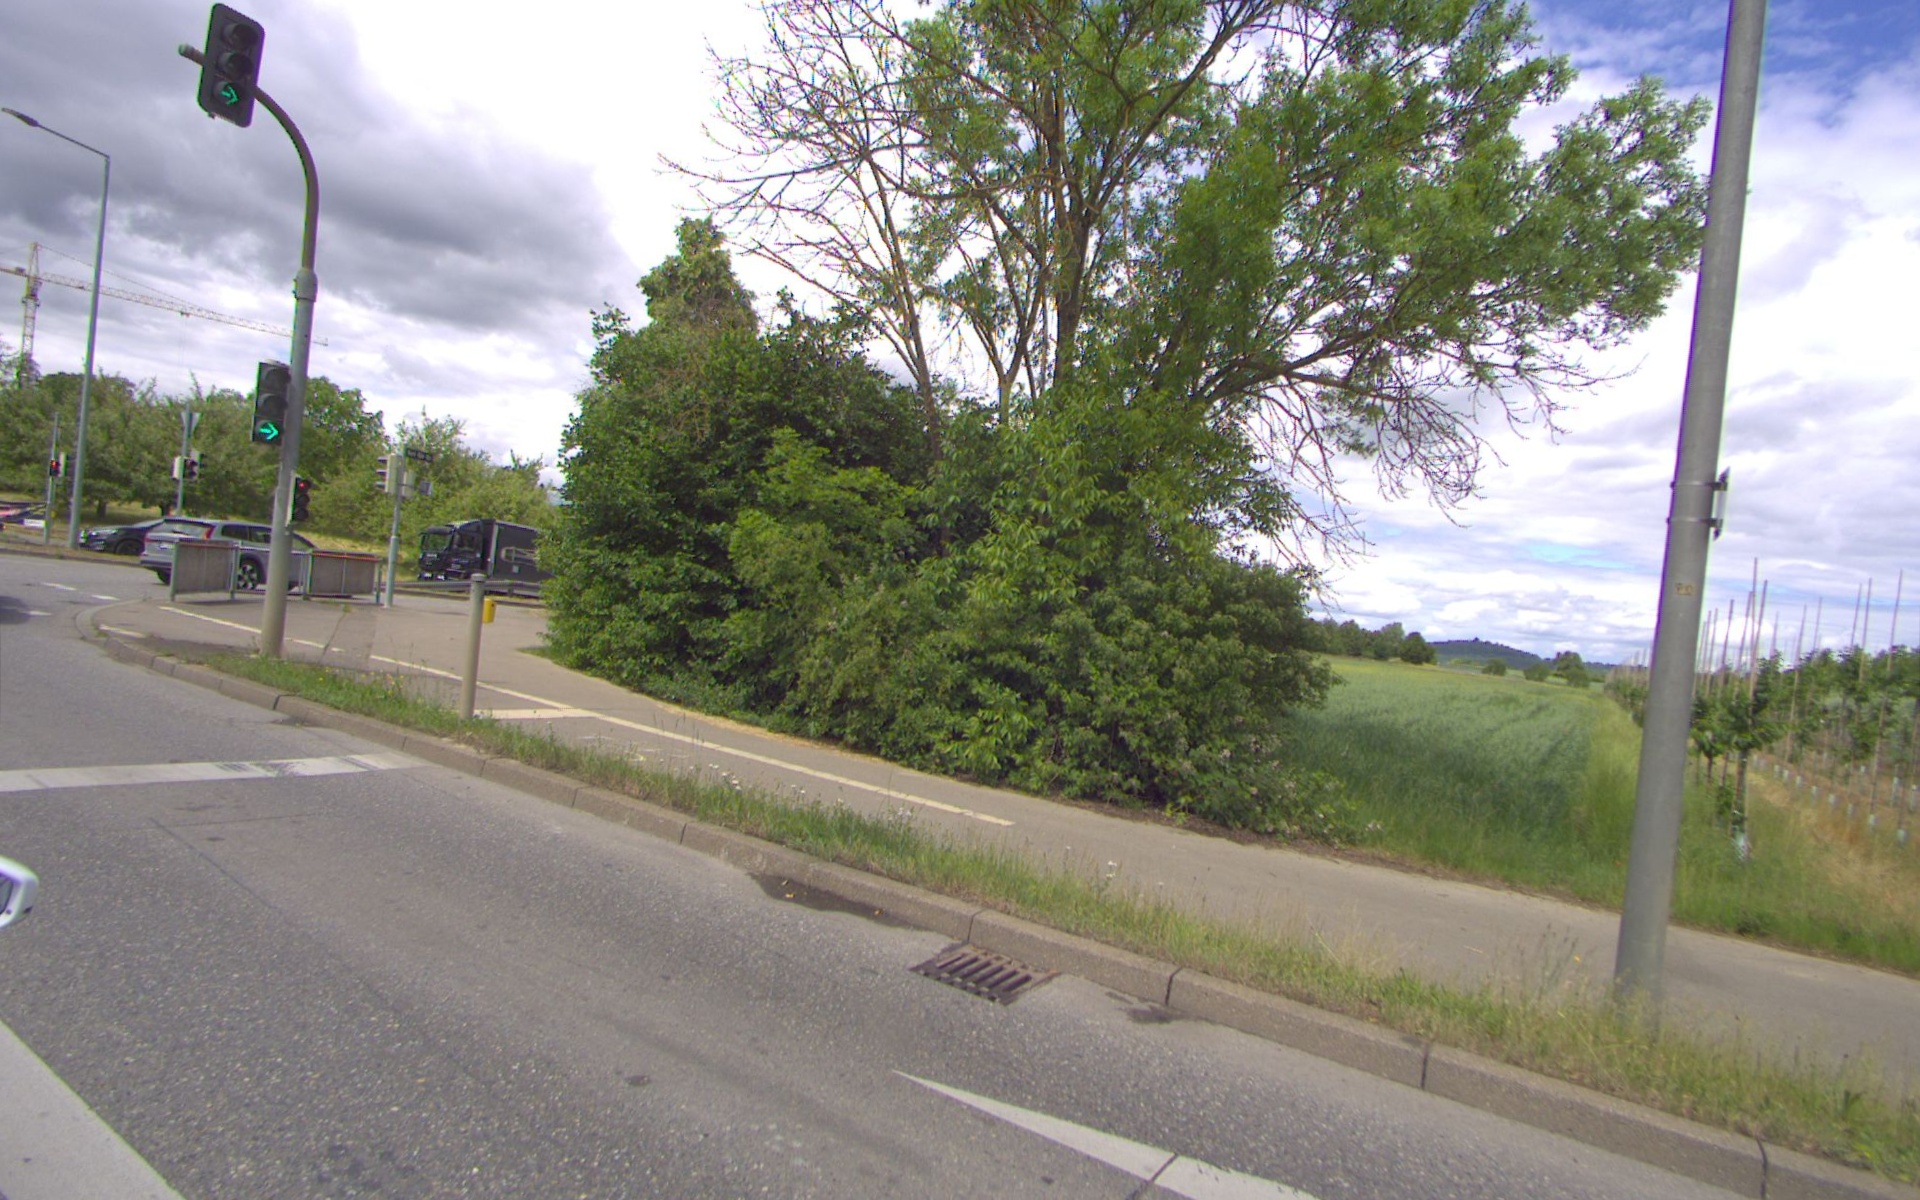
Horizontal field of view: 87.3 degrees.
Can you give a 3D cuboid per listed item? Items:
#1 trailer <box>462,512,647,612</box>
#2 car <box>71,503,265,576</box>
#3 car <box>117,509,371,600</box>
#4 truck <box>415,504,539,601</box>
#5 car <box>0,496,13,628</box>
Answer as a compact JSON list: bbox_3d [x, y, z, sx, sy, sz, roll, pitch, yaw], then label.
[{"bbox_3d":[-18.178,-1.596,45.683,1.969,3.500,7.587,7,-1,36],"label":"trailer"},{"bbox_3d":[-24.644,-1.857,31.428,1.969,1.635,4.305,7,0,35],"label":"car"},{"bbox_3d":[-15.647,-0.914,22.336,1.833,1.537,4.447,7,0,11],"label":"car"},{"bbox_3d":[-20.413,-1.963,42.646,1.970,3.511,3.986,7,0,38],"label":"truck"},{"bbox_3d":[-13.265,-0.718,12.409,5.128,1.459,1.869,7,1,42],"label":"car"}]
